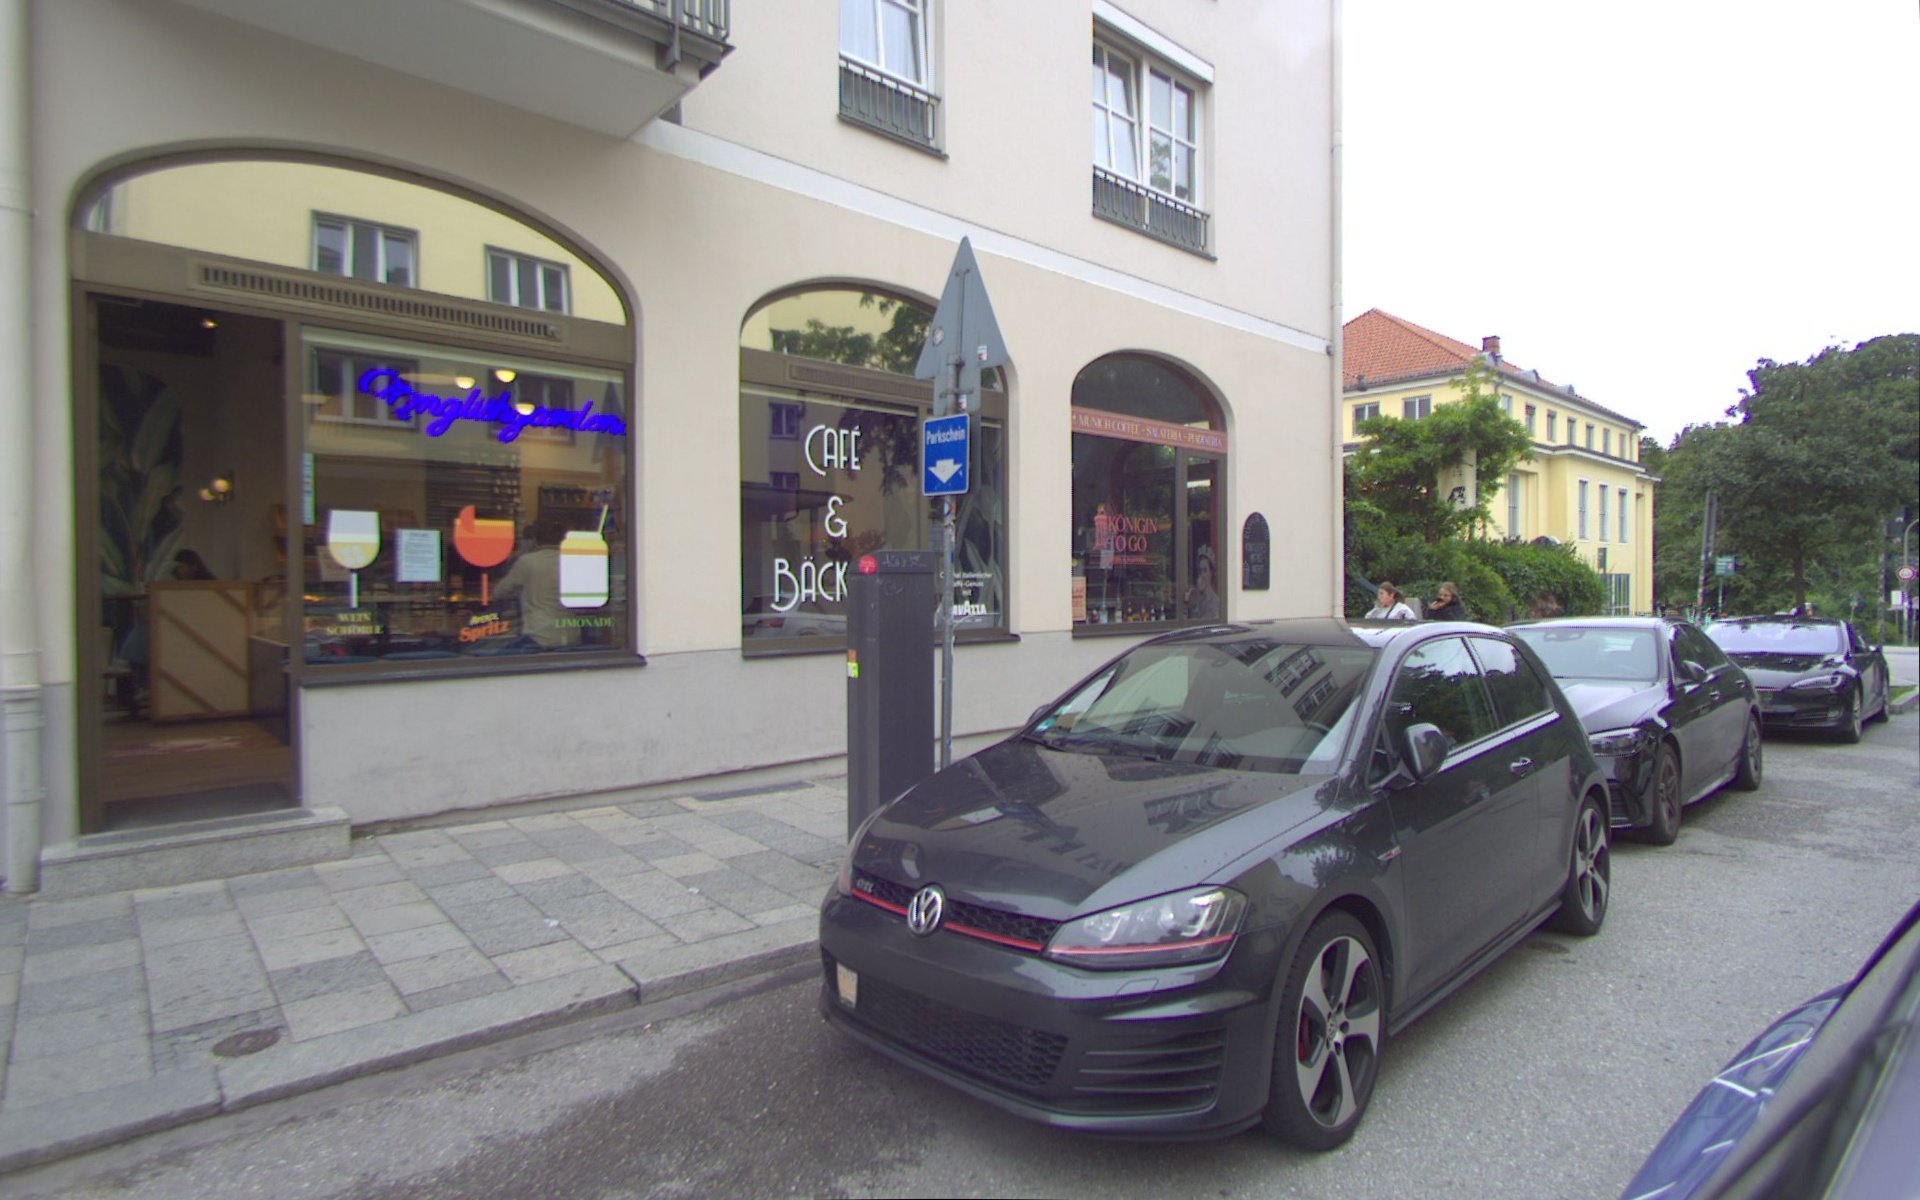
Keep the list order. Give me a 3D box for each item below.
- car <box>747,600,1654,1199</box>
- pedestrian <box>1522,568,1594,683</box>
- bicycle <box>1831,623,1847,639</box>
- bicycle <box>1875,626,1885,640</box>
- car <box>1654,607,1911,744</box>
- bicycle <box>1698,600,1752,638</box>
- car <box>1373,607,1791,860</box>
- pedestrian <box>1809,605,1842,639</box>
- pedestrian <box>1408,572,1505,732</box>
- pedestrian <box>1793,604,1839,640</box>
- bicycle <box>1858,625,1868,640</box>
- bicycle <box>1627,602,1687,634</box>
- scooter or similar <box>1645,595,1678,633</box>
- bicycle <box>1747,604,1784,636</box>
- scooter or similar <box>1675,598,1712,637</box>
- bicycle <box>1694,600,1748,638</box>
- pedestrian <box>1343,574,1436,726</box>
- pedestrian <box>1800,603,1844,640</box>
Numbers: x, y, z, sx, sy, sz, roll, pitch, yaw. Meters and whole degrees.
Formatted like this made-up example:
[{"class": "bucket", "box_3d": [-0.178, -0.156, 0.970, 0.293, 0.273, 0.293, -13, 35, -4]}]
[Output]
[{"class": "car", "box_3d": [1.354, 0.755, 4.199, 4.133, 1.443, 1.676, 0, -2, -44]}, {"class": "pedestrian", "box_3d": [8.929, 0.355, 15.114, 0.866, 1.642, 0.706, -2, 2, -43]}, {"class": "bicycle", "box_3d": [37.732, 1.329, 43.438, 0.891, 0.684, 0.216, 3, 0, -30]}, {"class": "bicycle", "box_3d": [46.256, 1.655, 50.901, 0.893, 0.665, 0.242, 2, 0, -41]}, {"class": "car", "box_3d": [10.499, 0.803, 12.789, 4.575, 1.428, 1.805, 0, -1, -42]}, {"class": "bicycle", "box_3d": [25.993, 0.650, 34.380, 1.623, 1.213, 0.169, 3, 0, 1]}, {"class": "car", "box_3d": [5.061, 0.796, 7.939, 4.433, 1.443, 1.647, 0, -2, -43]}, {"class": "pedestrian", "box_3d": [31.806, 0.807, 37.206, 0.883, 1.251, 0.542, -1, -4, 39]}, {"class": "pedestrian", "box_3d": [5.537, 0.537, 11.278, 0.866, 1.682, 0.706, -2, 2, -43]}, {"class": "pedestrian", "box_3d": [30.612, 0.797, 36.189, 1.210, 1.264, 0.630, -1, -4, 39]}, {"class": "bicycle", "box_3d": [42.854, 1.541, 48.020, 0.892, 0.684, 0.215, 3, 0, -39]}, {"class": "bicycle", "box_3d": [24.076, 0.620, 34.962, 1.637, 1.006, 0.246, 3, 0, 26]}, {"class": "scooter or similar", "box_3d": [23.667, 0.472, 34.117, 1.363, 1.264, 0.397, 2, 0, -33]}, {"class": "bicycle", "box_3d": [27.891, 0.700, 35.022, 1.620, 1.051, 0.308, 3, 0, -27]}, {"class": "scooter or similar", "box_3d": [24.314, 0.569, 33.564, 0.317, 1.228, 1.118, 2, 0, -4]}, {"class": "bicycle", "box_3d": [26.005, 0.655, 34.578, 1.623, 1.206, 0.202, 3, 0, 1]}, {"class": "pedestrian", "box_3d": [5.015, 0.545, 11.811, 0.866, 1.682, 0.706, -2, 2, -43]}, {"class": "pedestrian", "box_3d": [31.317, 0.795, 36.792, 1.172, 1.310, 0.630, -1, -4, 39]}]
